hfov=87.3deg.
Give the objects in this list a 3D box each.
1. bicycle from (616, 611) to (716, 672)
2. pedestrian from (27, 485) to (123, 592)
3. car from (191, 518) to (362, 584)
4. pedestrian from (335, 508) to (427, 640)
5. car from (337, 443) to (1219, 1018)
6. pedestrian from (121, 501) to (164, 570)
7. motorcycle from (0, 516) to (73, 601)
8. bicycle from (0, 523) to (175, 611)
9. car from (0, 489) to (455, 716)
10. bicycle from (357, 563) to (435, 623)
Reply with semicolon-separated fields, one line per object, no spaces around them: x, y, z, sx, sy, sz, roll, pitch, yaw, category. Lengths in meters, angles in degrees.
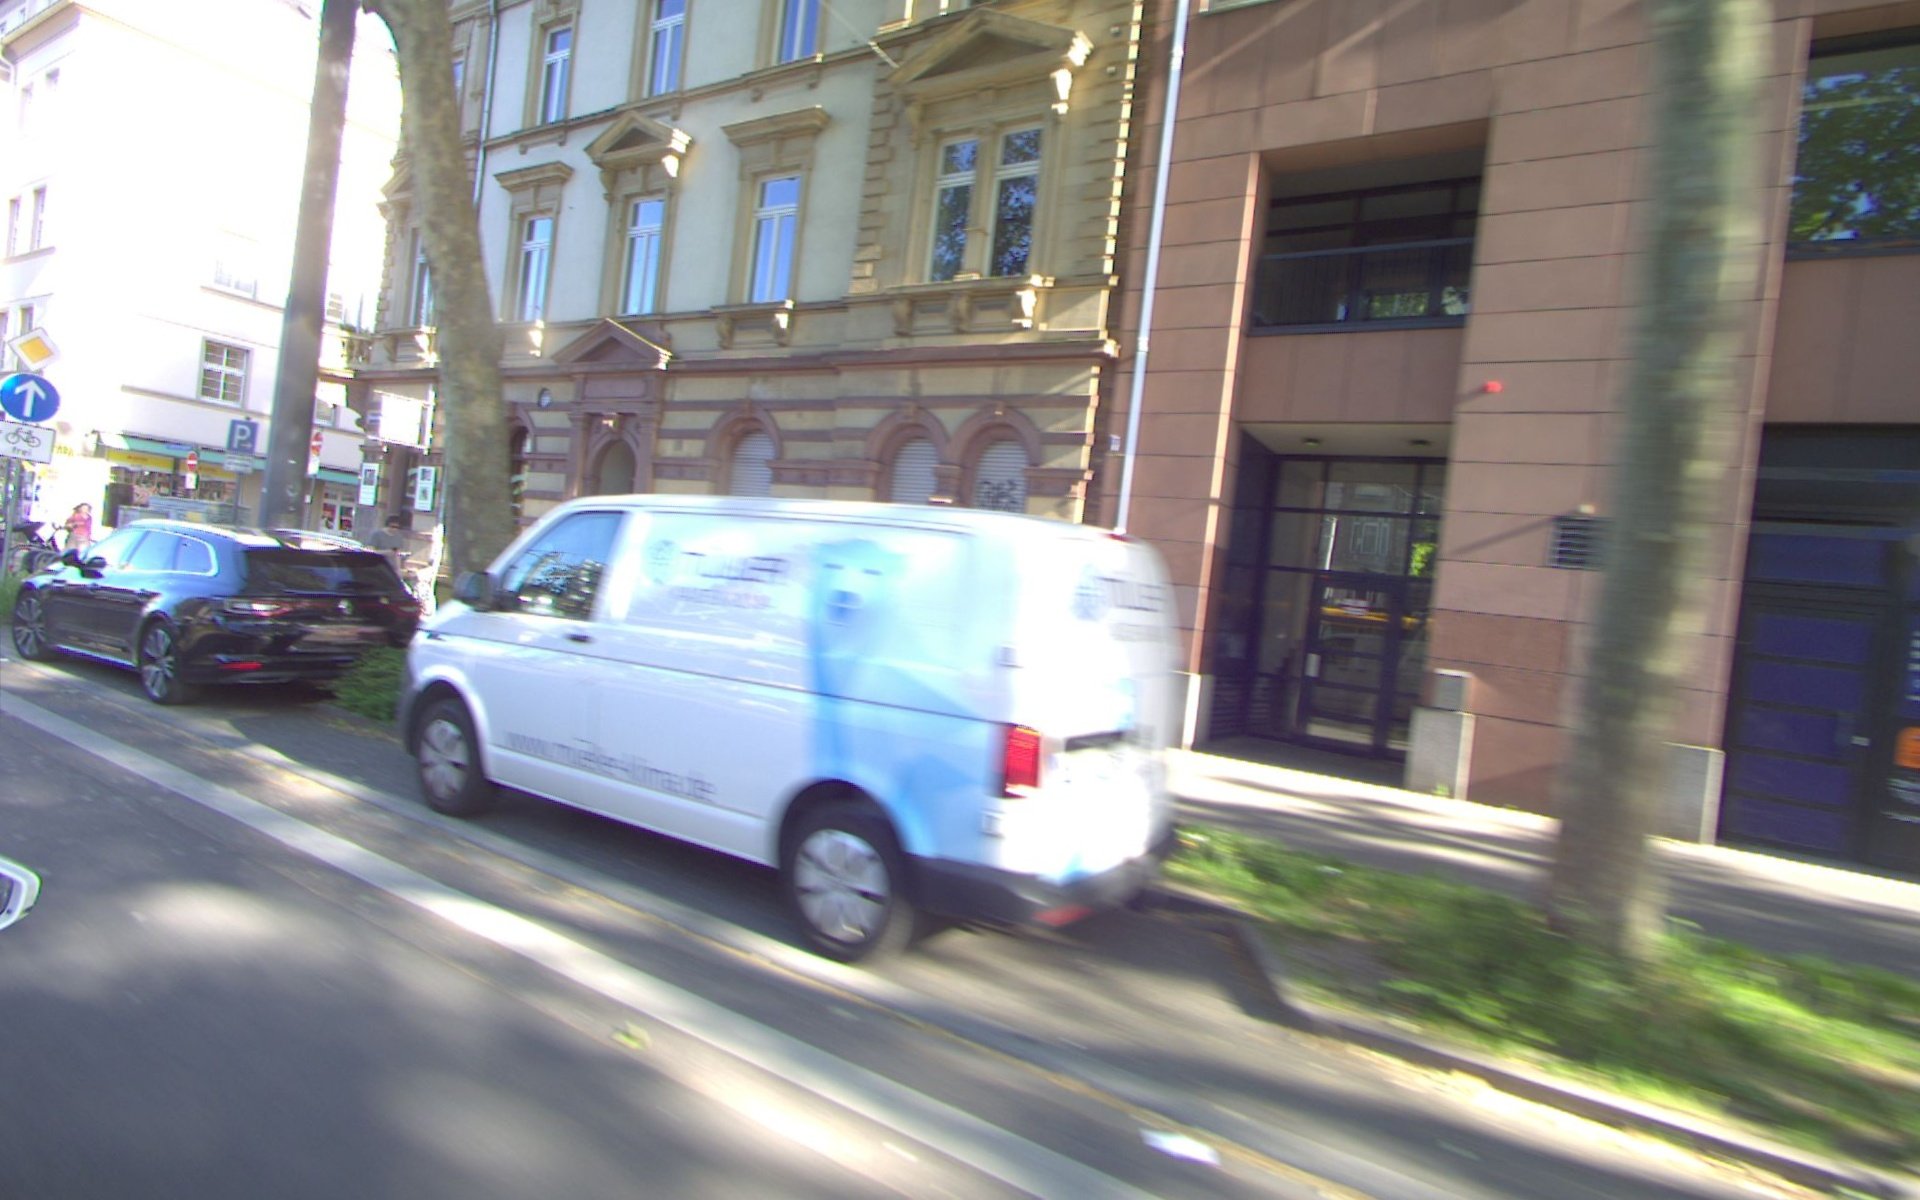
-4.758;0.659;16.244;1.635;0.783;0.549;6;1;32;bicycle
-18.661;-1.290;21.229;1.029;2.037;1.090;6;-2;32;pedestrian
-20.844;-1.461;30.832;1.640;1.492;3.940;7;0;35;car
-8.674;-0.386;15.075;0.880;1.848;0.644;6;-1;29;pedestrian
-1.214;0.328;5.597;4.646;2.040;1.857;6;1;32;car
-23.935;-1.883;29.462;0.577;1.925;0.553;7;-1;21;pedestrian
-15.378;-0.726;15.841;0.507;1.245;1.955;6;-2;28;motorcycle
-14.156;-0.509;16.237;0.448;1.106;2.226;6;-3;33;bicycle
-7.006;-0.028;9.395;4.630;1.532;1.822;6;-2;32;car
-11.110;-0.145;19.794;1.851;1.009;0.415;6;0;32;bicycle
